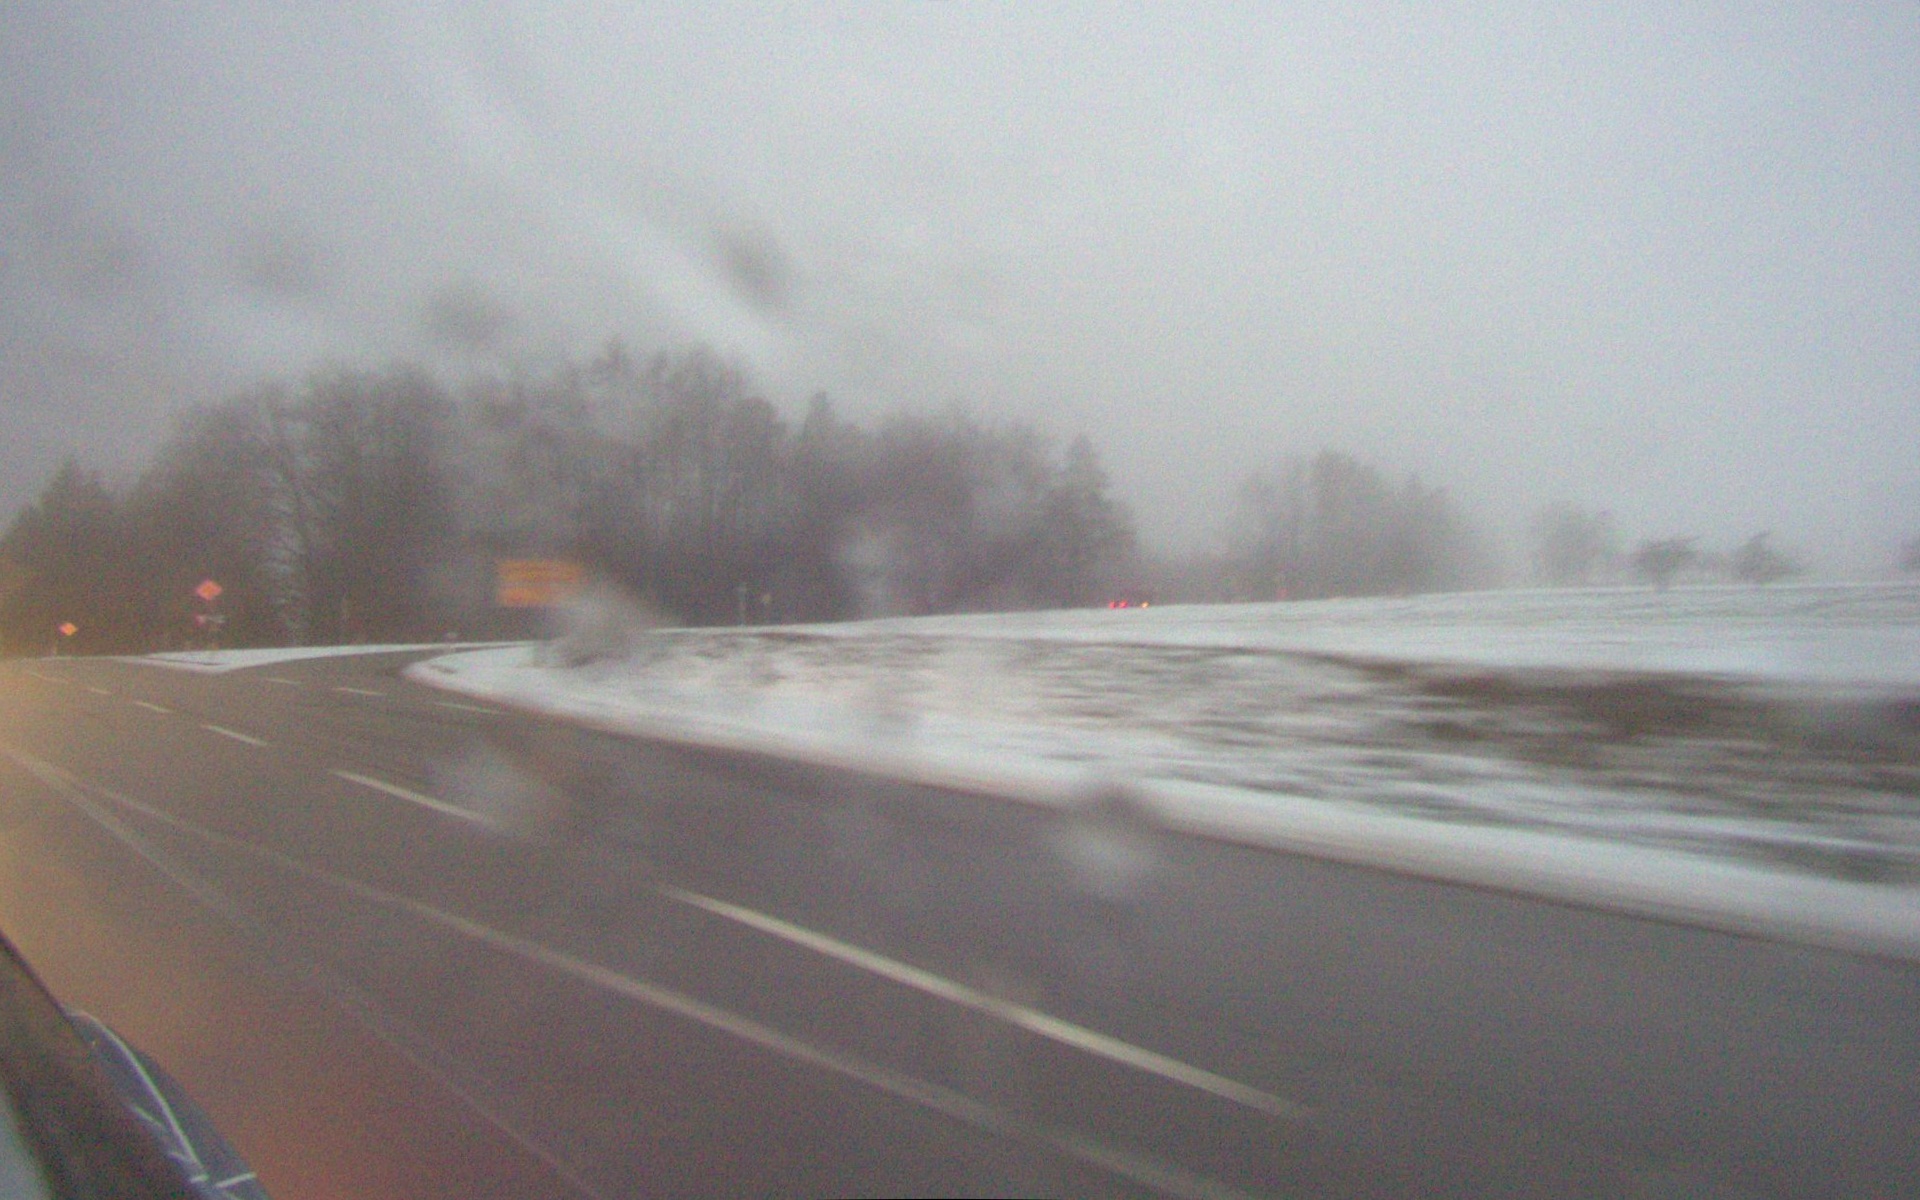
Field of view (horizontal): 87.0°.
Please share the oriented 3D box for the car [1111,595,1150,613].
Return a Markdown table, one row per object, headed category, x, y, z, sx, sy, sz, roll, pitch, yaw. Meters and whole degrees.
| category | x | y | z | sx | sy | sz | roll | pitch | yaw |
| --- | --- | --- | --- | --- | --- | --- | --- | --- | --- |
| car | 15.152 | 0.344 | 89.669 | 3.359 | 1.463 | 1.579 | 0 | -3 | -40 |
